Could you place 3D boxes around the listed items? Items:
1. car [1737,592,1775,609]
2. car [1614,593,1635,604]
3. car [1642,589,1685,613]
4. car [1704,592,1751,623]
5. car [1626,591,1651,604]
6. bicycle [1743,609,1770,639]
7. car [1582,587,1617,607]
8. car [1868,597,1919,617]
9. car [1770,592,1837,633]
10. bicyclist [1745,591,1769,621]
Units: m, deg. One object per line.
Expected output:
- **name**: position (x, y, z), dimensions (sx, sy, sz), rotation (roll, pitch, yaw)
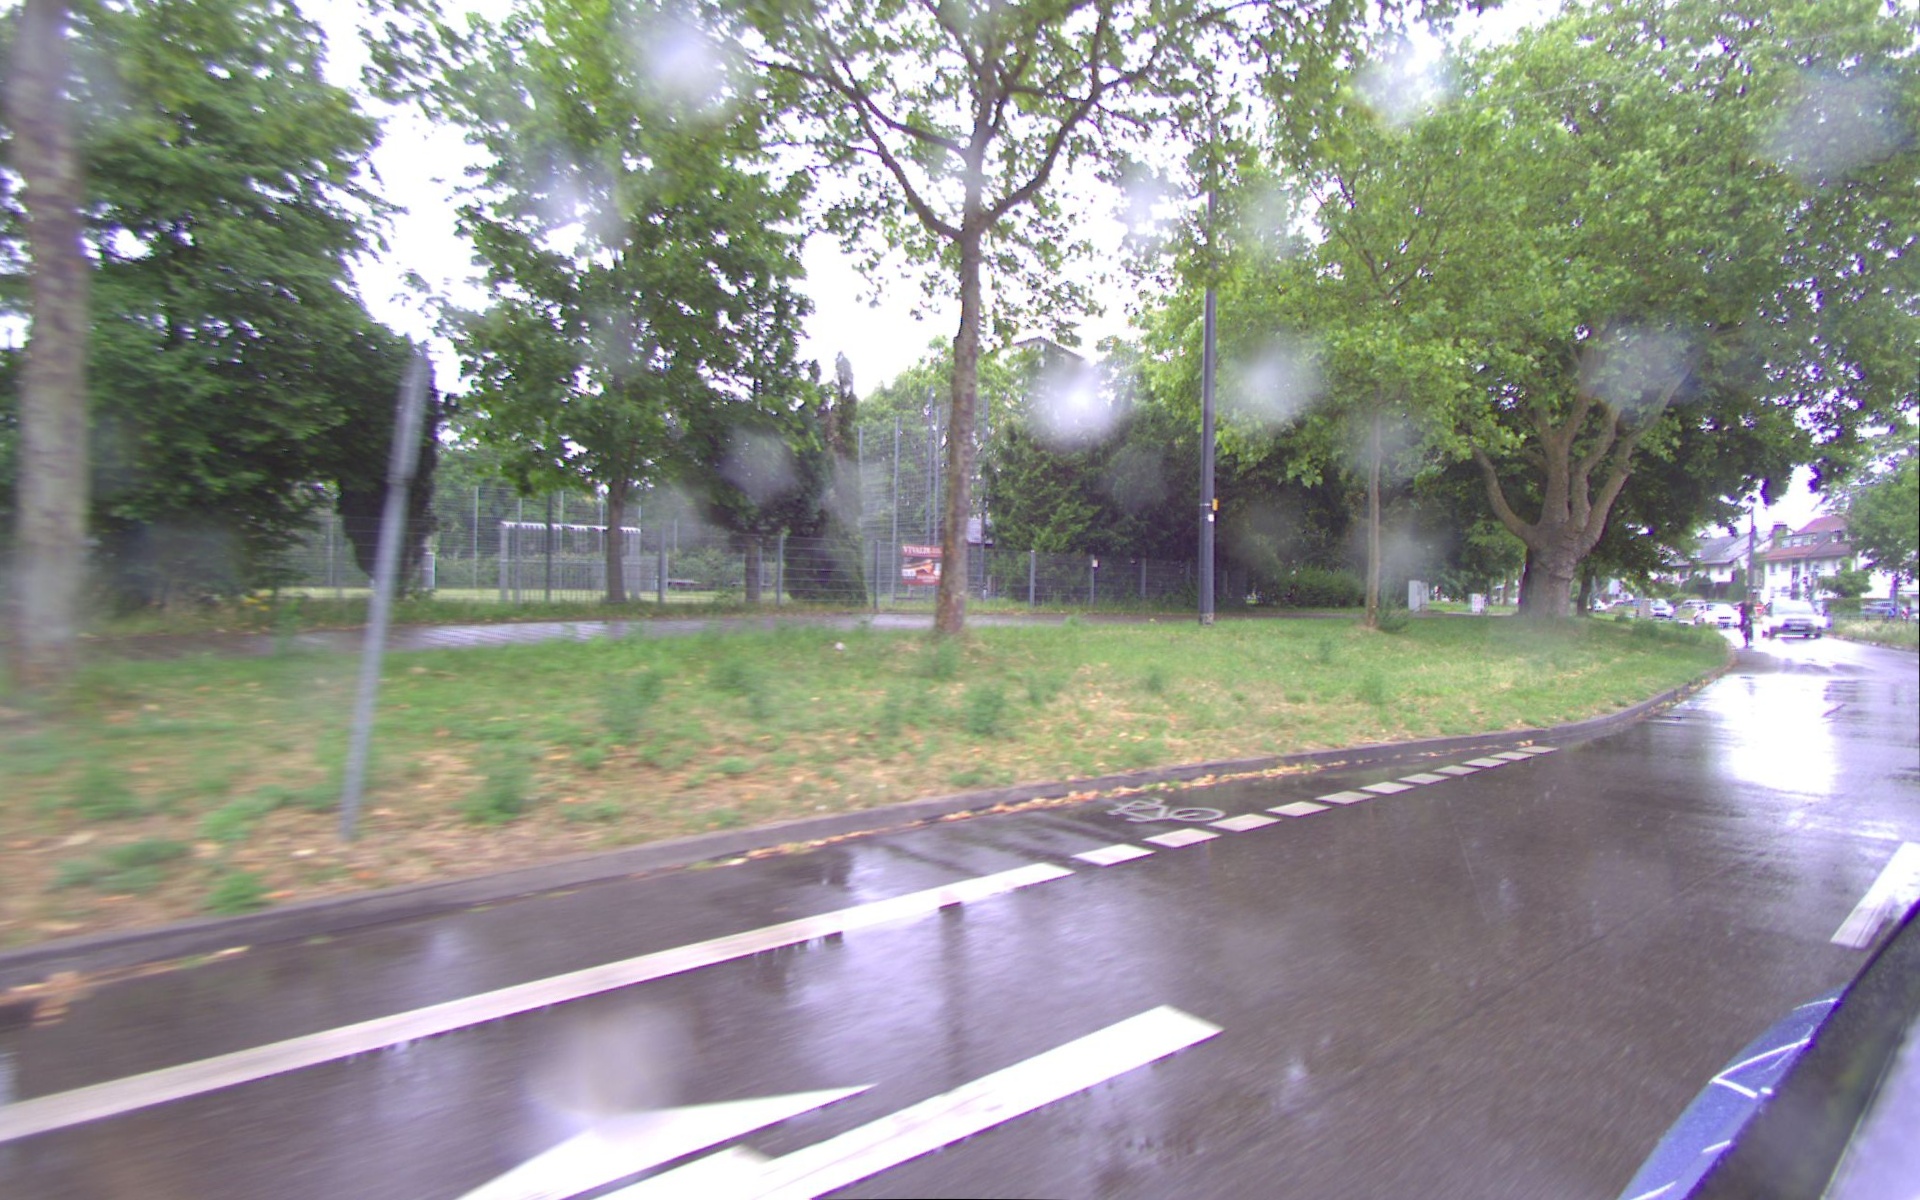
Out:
- **car**: position (79.892, 0.032, 101.585), dimensions (1.825, 1.566, 3.945), rotation (-1, 0, 21)
- **car**: position (94.141, -0.246, 143.401), dimensions (1.697, 1.548, 3.578), rotation (-2, 0, 19)
- **car**: position (54.056, 0.045, 77.862), dimensions (1.747, 1.746, 3.908), rotation (2, 2, 21)
- **car**: position (45.746, 0.392, 60.387), dimensions (1.754, 1.746, 3.892), rotation (1, 1, 31)
- **car**: position (91.834, -0.307, 137.007), dimensions (1.826, 1.727, 4.157), rotation (0, 0, 18)
- **bicycle**: position (29.242, 0.866, 37.163), dimensions (0.657, 1.026, 2.224), rotation (2, 2, 41)
- **car**: position (59.935, -0.282, 94.904), dimensions (1.745, 1.746, 3.912), rotation (2, 2, 18)
- **car**: position (77.475, 0.576, 83.030), dimensions (3.950, 1.596, 1.880), rotation (2, 1, 20)
- **car**: position (37.253, 0.533, 44.776), dimensions (1.755, 1.747, 3.888), rotation (-1, -1, 33)
- **bicyclist**: position (29.290, 0.217, 37.188), dimensions (0.620, 1.098, 0.615), rotation (2, 2, 41)
